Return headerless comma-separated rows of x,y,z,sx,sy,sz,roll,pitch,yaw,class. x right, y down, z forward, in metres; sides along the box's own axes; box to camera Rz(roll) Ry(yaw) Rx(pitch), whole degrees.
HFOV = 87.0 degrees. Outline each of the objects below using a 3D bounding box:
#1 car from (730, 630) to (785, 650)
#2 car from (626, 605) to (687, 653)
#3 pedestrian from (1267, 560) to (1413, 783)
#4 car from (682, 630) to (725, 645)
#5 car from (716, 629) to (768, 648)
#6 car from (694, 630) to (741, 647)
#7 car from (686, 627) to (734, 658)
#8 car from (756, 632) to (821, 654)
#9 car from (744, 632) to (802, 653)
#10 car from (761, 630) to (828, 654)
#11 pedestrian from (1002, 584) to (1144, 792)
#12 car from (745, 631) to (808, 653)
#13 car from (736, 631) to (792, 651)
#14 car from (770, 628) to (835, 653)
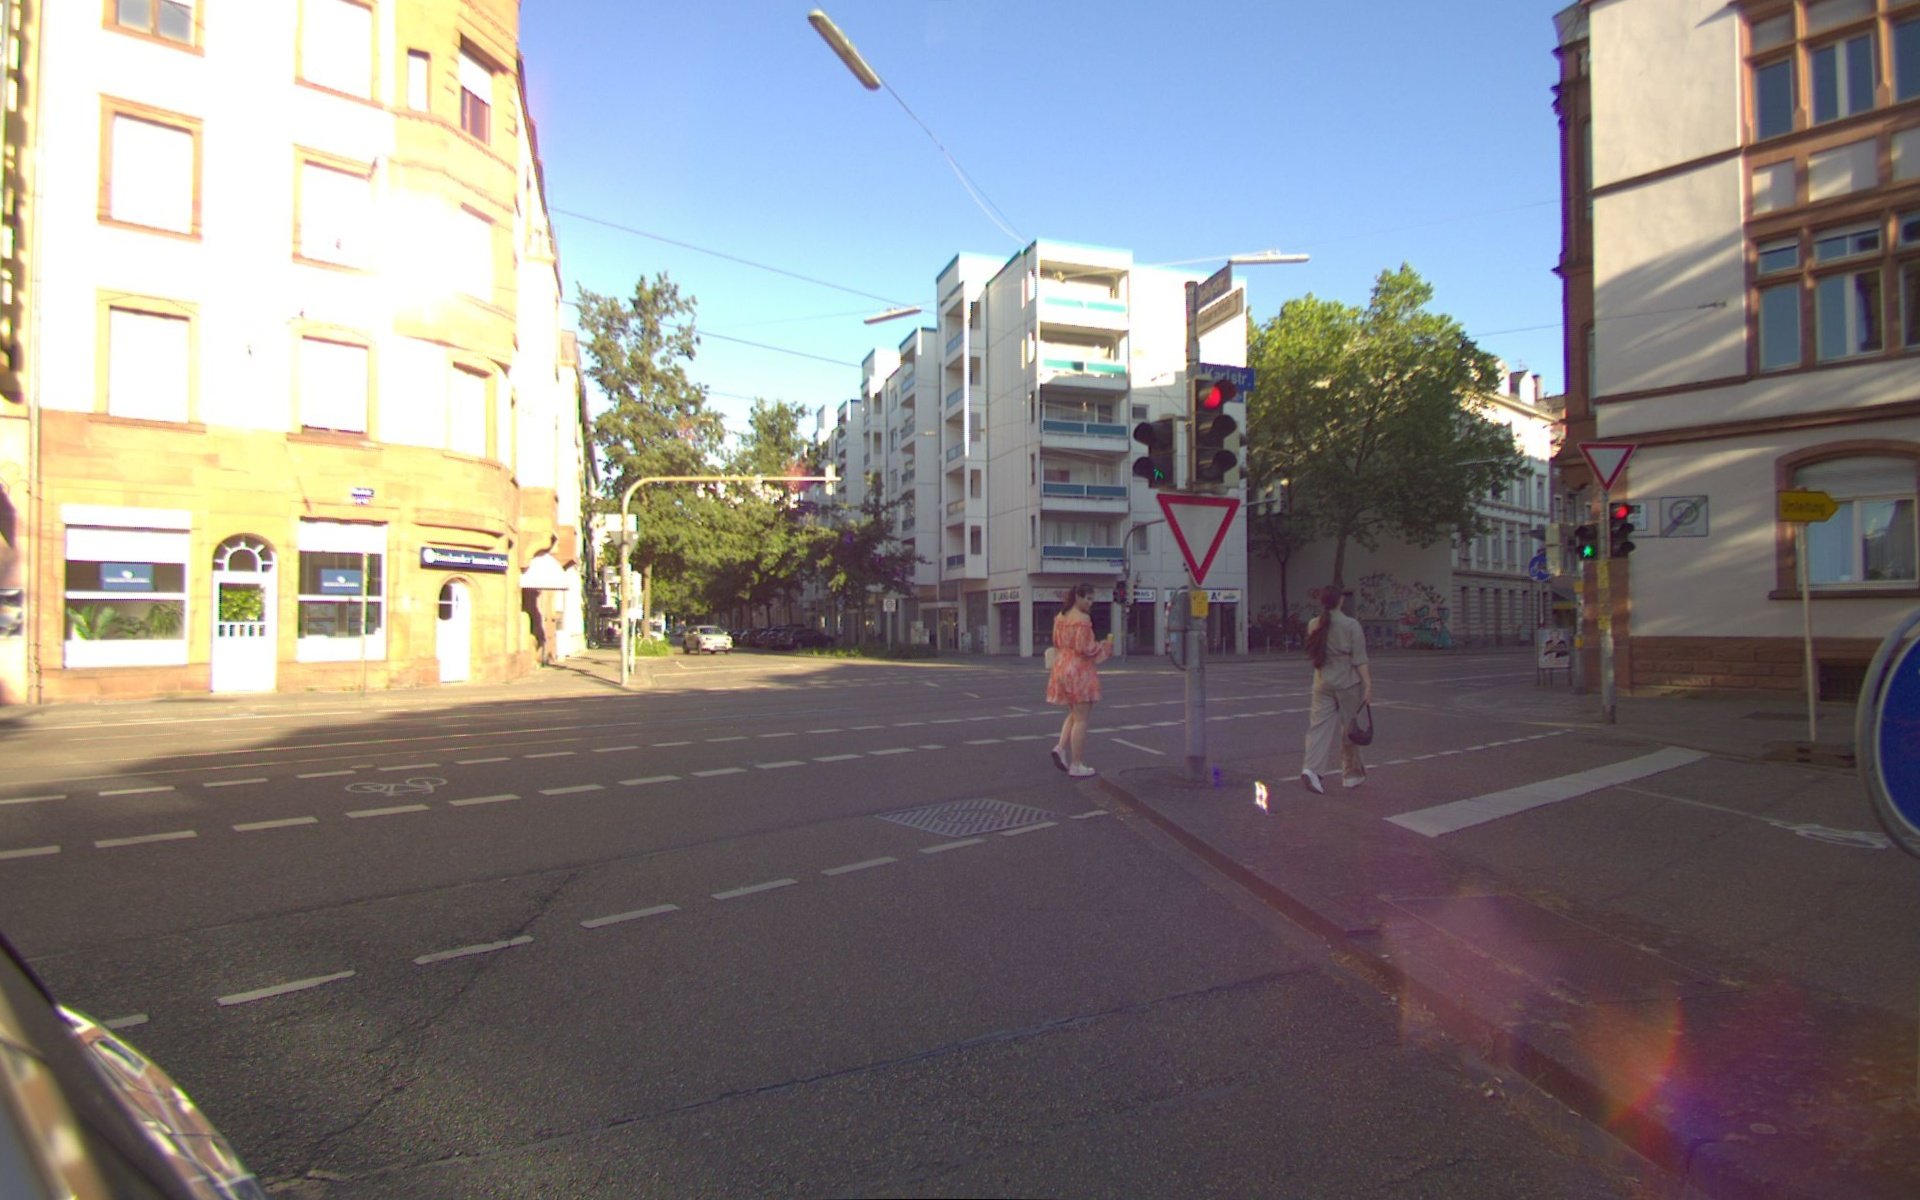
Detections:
-17.275,3.403,86.468,4.230,1.597,2.006,1,-2,-25,car
-21.766,2.101,72.288,3.268,3.203,8.109,1,-2,-23,car
3.173,0.566,8.434,0.868,1.710,0.971,-2,-2,39,pedestrian
-28.281,4.138,111.603,4.230,1.597,2.006,1,-2,-25,car
-19.576,3.427,90.814,4.230,1.597,2.006,1,-2,-25,car
-24.006,3.773,100.126,4.230,1.597,2.006,1,-2,-25,car
-14.513,2.439,58.617,1.965,1.763,4.013,1,-2,-25,car
-12.354,3.085,73.099,4.230,1.597,2.006,1,-2,-26,car
-15.023,3.371,81.209,4.230,1.597,2.006,1,-2,-25,car
-11.555,2.896,70.631,4.230,1.597,2.006,1,-2,-26,car
1.007,0.739,8.987,0.868,1.710,0.971,-2,-2,39,pedestrian
-13.645,3.096,75.184,4.230,1.597,2.006,1,-2,-26,car
-16.290,3.390,84.255,4.230,1.597,2.006,1,-2,-25,car
-10.649,2.727,68.353,3.930,1.597,2.006,1,-2,-26,car
